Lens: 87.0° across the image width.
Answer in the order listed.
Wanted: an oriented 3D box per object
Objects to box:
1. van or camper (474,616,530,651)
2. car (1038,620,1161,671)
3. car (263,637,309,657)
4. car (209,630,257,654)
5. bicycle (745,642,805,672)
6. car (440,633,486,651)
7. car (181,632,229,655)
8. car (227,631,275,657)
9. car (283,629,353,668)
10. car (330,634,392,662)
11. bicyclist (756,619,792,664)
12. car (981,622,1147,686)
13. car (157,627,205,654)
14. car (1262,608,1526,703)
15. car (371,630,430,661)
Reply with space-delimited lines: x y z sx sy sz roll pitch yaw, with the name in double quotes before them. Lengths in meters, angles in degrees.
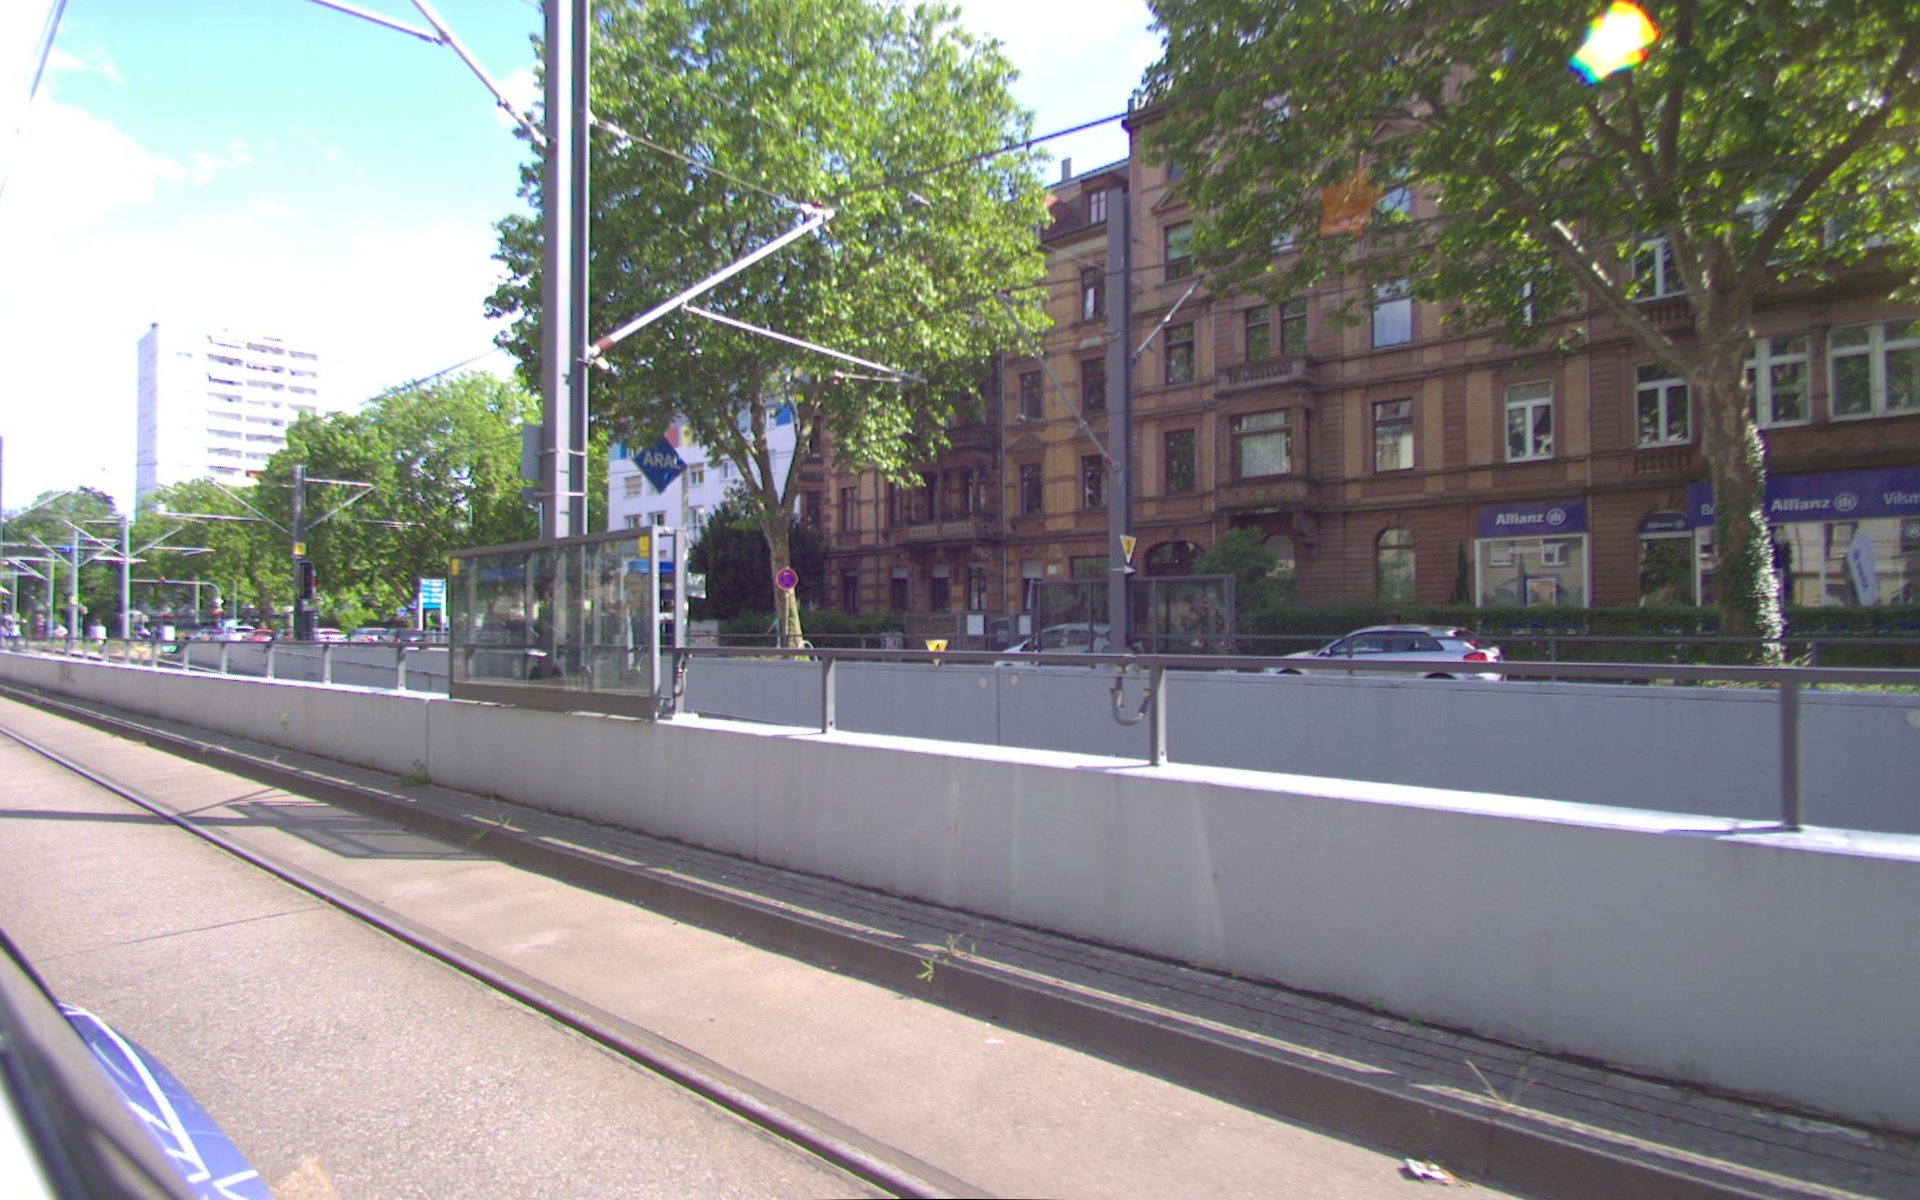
"van or camper" -36.694 2.739 80.972 5.348 2.662 2.079 -3 -5 42
"car" 4.490 1.403 32.236 2.000 1.494 3.943 -2 -2 43
"car" -42.529 2.977 63.846 3.632 1.198 1.599 -3 -3 42
"car" -52.691 3.046 73.280 4.676 1.619 1.742 -1 -2 41
"bicycle" -6.164 1.881 33.645 2.367 0.920 0.664 -2 -2 41
"car" -38.889 3.277 79.134 3.996 1.421 1.734 -2 -3 40
"car" -58.339 3.383 78.187 5.150 1.665 1.847 -3 -4 41
"car" -47.837 2.962 68.246 4.141 1.619 1.695 -4 -4 41
"car" -37.796 2.855 59.497 5.074 1.616 1.929 -7 5 42
"car" -32.553 2.614 54.949 4.404 1.427 1.703 -3 -4 42
"bicyclist" -6.176 1.383 33.659 1.044 1.466 0.681 -2 -2 41
"car" 2.263 1.206 22.538 3.491 1.313 1.480 -3 -5 43
"car" -63.737 3.351 82.784 5.332 2.002 2.053 -4 -4 41
"car" 7.590 0.991 17.920 3.999 1.493 1.626 -2 -5 40
"car" -27.816 2.257 50.303 1.649 1.427 3.785 1 -3 -44
